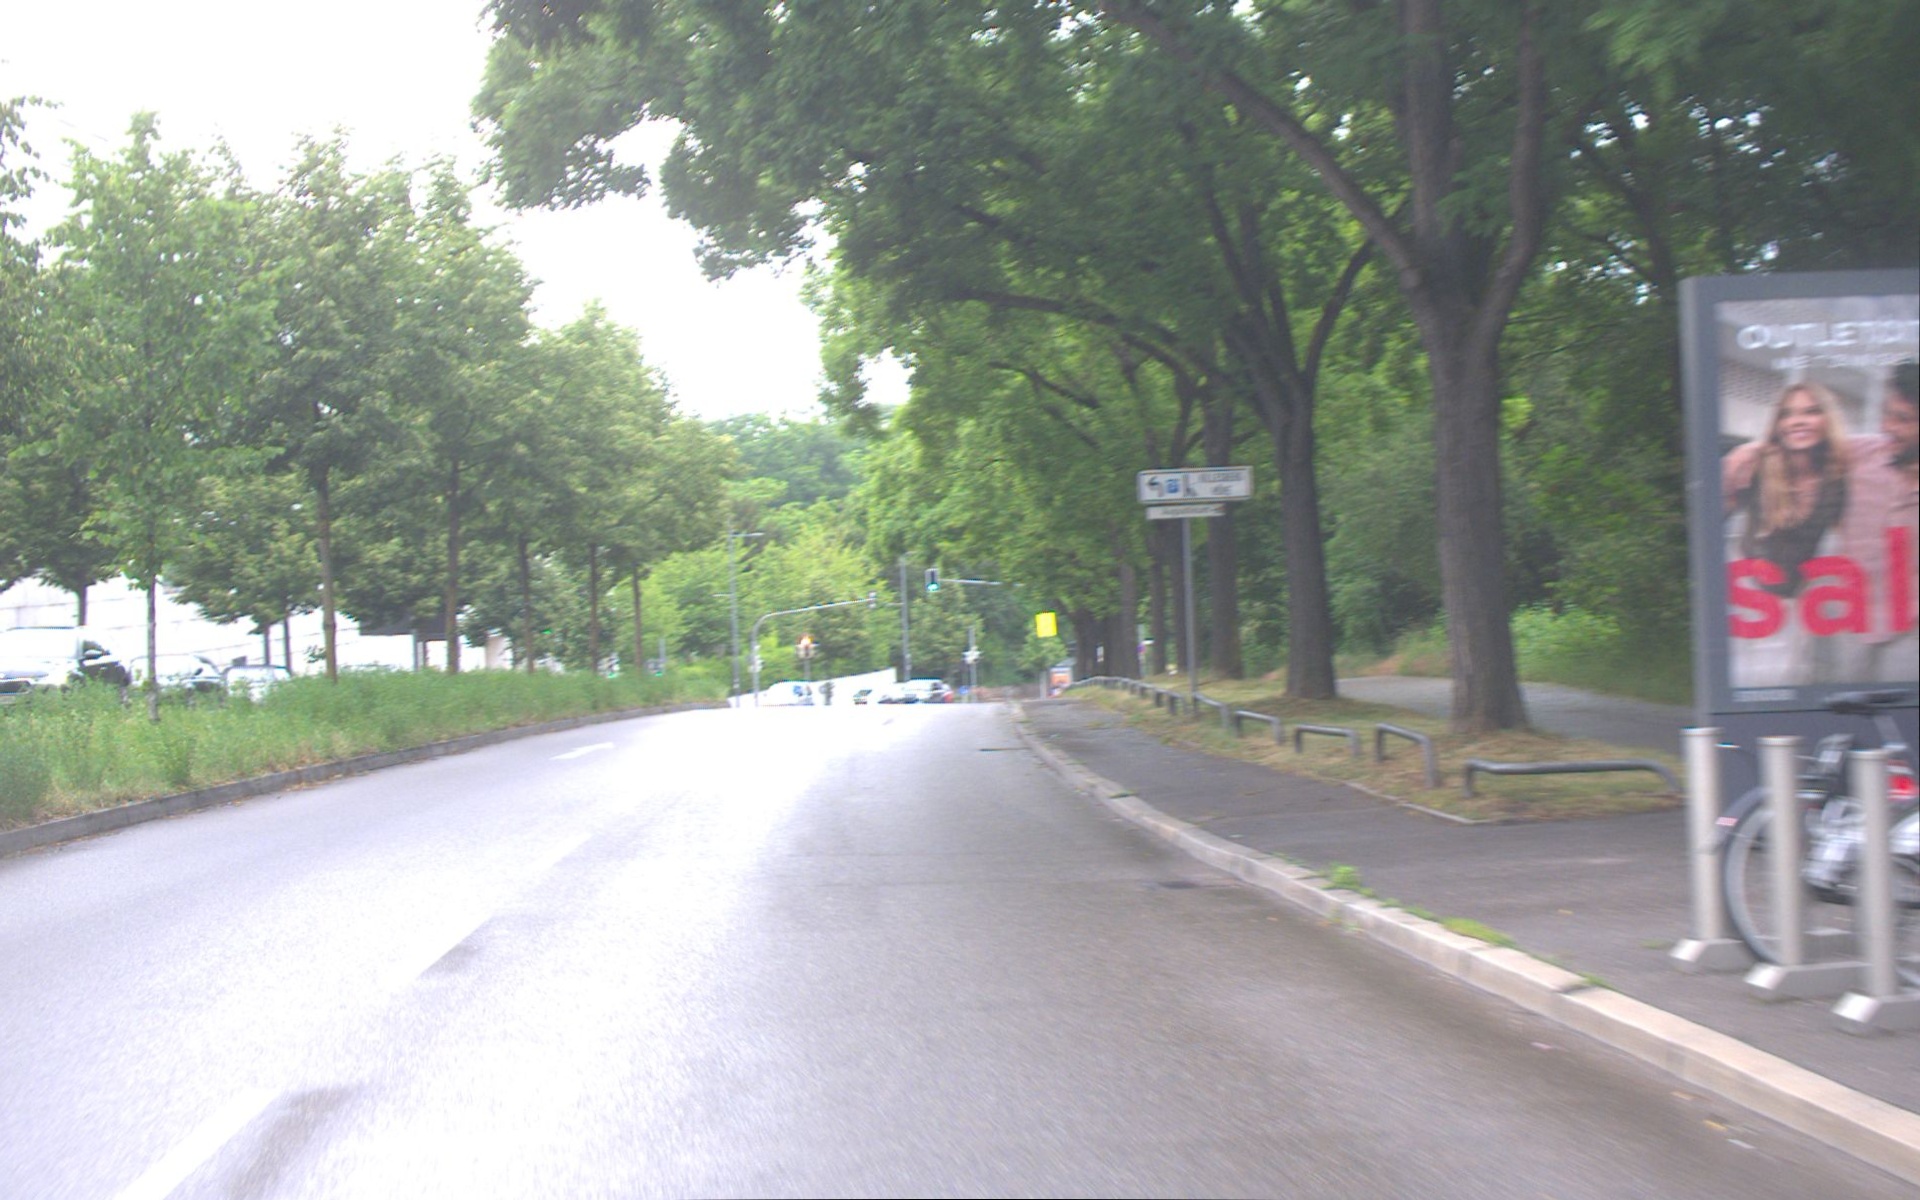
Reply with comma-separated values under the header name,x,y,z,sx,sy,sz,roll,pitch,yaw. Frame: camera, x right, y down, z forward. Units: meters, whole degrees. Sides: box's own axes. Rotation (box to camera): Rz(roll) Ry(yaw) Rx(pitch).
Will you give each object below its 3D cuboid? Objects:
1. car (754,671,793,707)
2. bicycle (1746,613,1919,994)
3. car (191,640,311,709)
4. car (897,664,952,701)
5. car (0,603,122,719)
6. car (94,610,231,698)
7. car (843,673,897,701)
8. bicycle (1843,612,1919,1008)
name,x,y,z,sx,sy,sz,roll,pitch,yaw
car,-9.434,4.488,173.967,1.710,1.741,4.337,-2,-1,0
bicycle,3.349,0.589,10.908,1.485,1.127,0.557,-5,0,-6
car,-15.888,1.658,77.222,1.695,1.439,3.859,-2,0,3
car,-2.032,4.717,196.910,1.922,1.851,4.503,-6,-2,14
car,-13.616,0.871,50.271,1.695,1.576,4.017,-2,1,0
car,-15.877,1.055,68.592,1.695,1.576,4.017,-1,1,1
car,-4.905,4.734,187.044,1.771,1.376,4.187,-4,-2,14
bicycle,3.453,0.555,10.086,1.485,1.127,0.557,-5,0,-6
